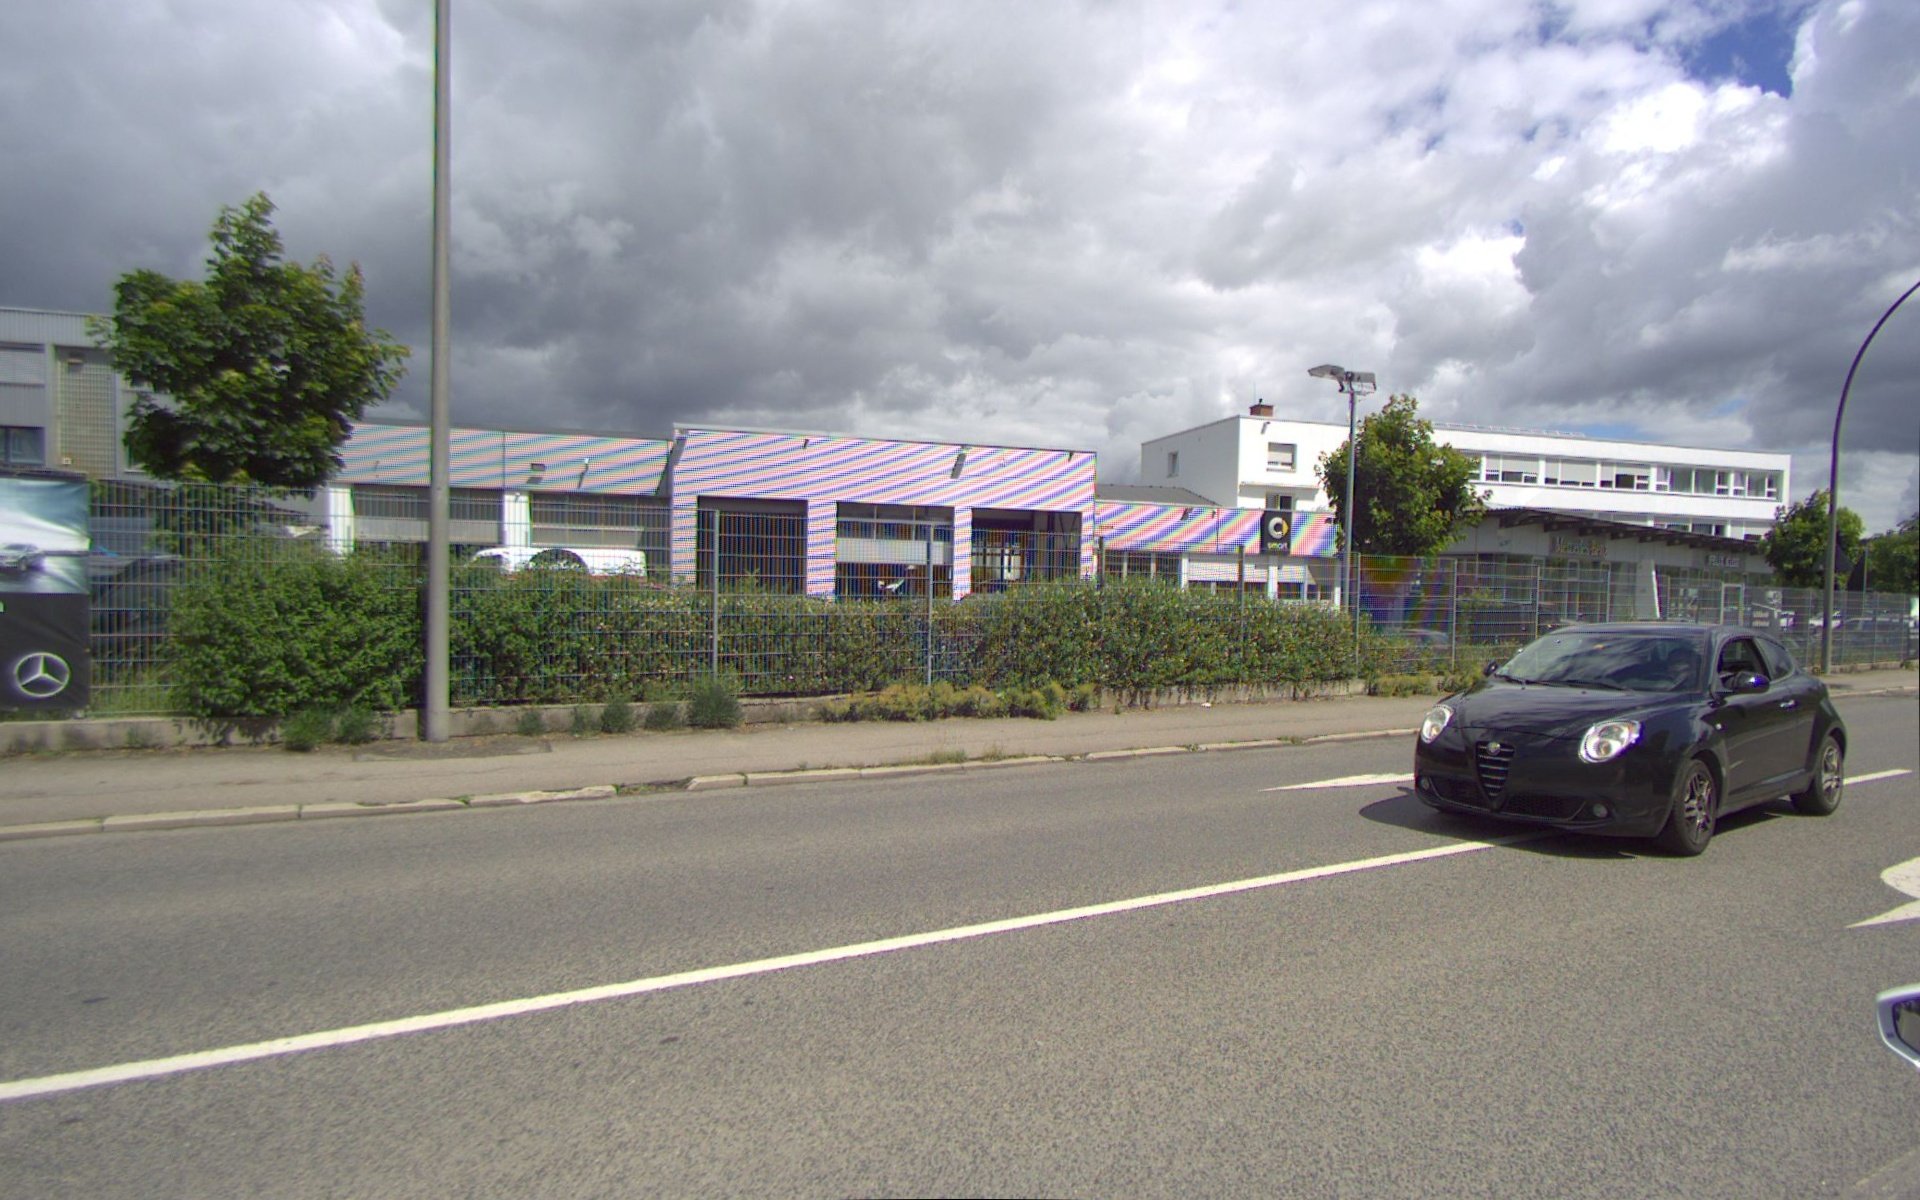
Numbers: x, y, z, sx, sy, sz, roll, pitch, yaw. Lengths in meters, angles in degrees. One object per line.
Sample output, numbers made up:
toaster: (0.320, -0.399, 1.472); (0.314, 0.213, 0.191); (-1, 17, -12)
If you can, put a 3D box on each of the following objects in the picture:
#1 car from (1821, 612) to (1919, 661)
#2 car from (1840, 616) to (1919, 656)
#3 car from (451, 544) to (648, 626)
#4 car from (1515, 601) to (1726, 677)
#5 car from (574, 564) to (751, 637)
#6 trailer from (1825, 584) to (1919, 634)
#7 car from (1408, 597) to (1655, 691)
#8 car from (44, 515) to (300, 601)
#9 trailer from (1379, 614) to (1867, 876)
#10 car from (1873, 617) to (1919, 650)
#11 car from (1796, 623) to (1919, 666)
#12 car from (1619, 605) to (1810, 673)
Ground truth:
car: (37.280, 1.447, 40.090); (2.133, 1.723, 3.982); (2, 1, -7)
car: (42.515, 1.638, 45.157); (1.944, 1.623, 4.199); (2, 1, -7)
car: (-10.849, -0.396, 26.898); (4.653, 1.925, 1.778); (2, 1, -16)
car: (17.562, 0.977, 26.908); (2.149, 1.723, 4.168); (1, 1, -32)
car: (-7.449, 0.014, 25.255); (4.086, 1.627, 1.720); (2, 1, -19)
trailer: (79.110, 0.729, 84.194); (9.585, 4.148, 2.818); (0, 0, 33)
car: (12.404, 0.880, 22.069); (2.147, 1.723, 4.171); (1, 1, -29)
car: (-17.293, -0.902, 22.283); (4.086, 1.627, 1.720); (2, 1, -19)
trailer: (5.013, 0.850, 7.439); (3.958, 1.442, 1.637); (1, 0, -34)
car: (46.689, 1.652, 48.103); (1.762, 1.499, 4.199); (2, 1, -7)
car: (35.135, 1.692, 38.788); (1.901, 1.368, 4.199); (2, 1, -7)
car: (21.972, 1.090, 29.422); (1.774, 1.687, 4.063); (1, 1, -29)
